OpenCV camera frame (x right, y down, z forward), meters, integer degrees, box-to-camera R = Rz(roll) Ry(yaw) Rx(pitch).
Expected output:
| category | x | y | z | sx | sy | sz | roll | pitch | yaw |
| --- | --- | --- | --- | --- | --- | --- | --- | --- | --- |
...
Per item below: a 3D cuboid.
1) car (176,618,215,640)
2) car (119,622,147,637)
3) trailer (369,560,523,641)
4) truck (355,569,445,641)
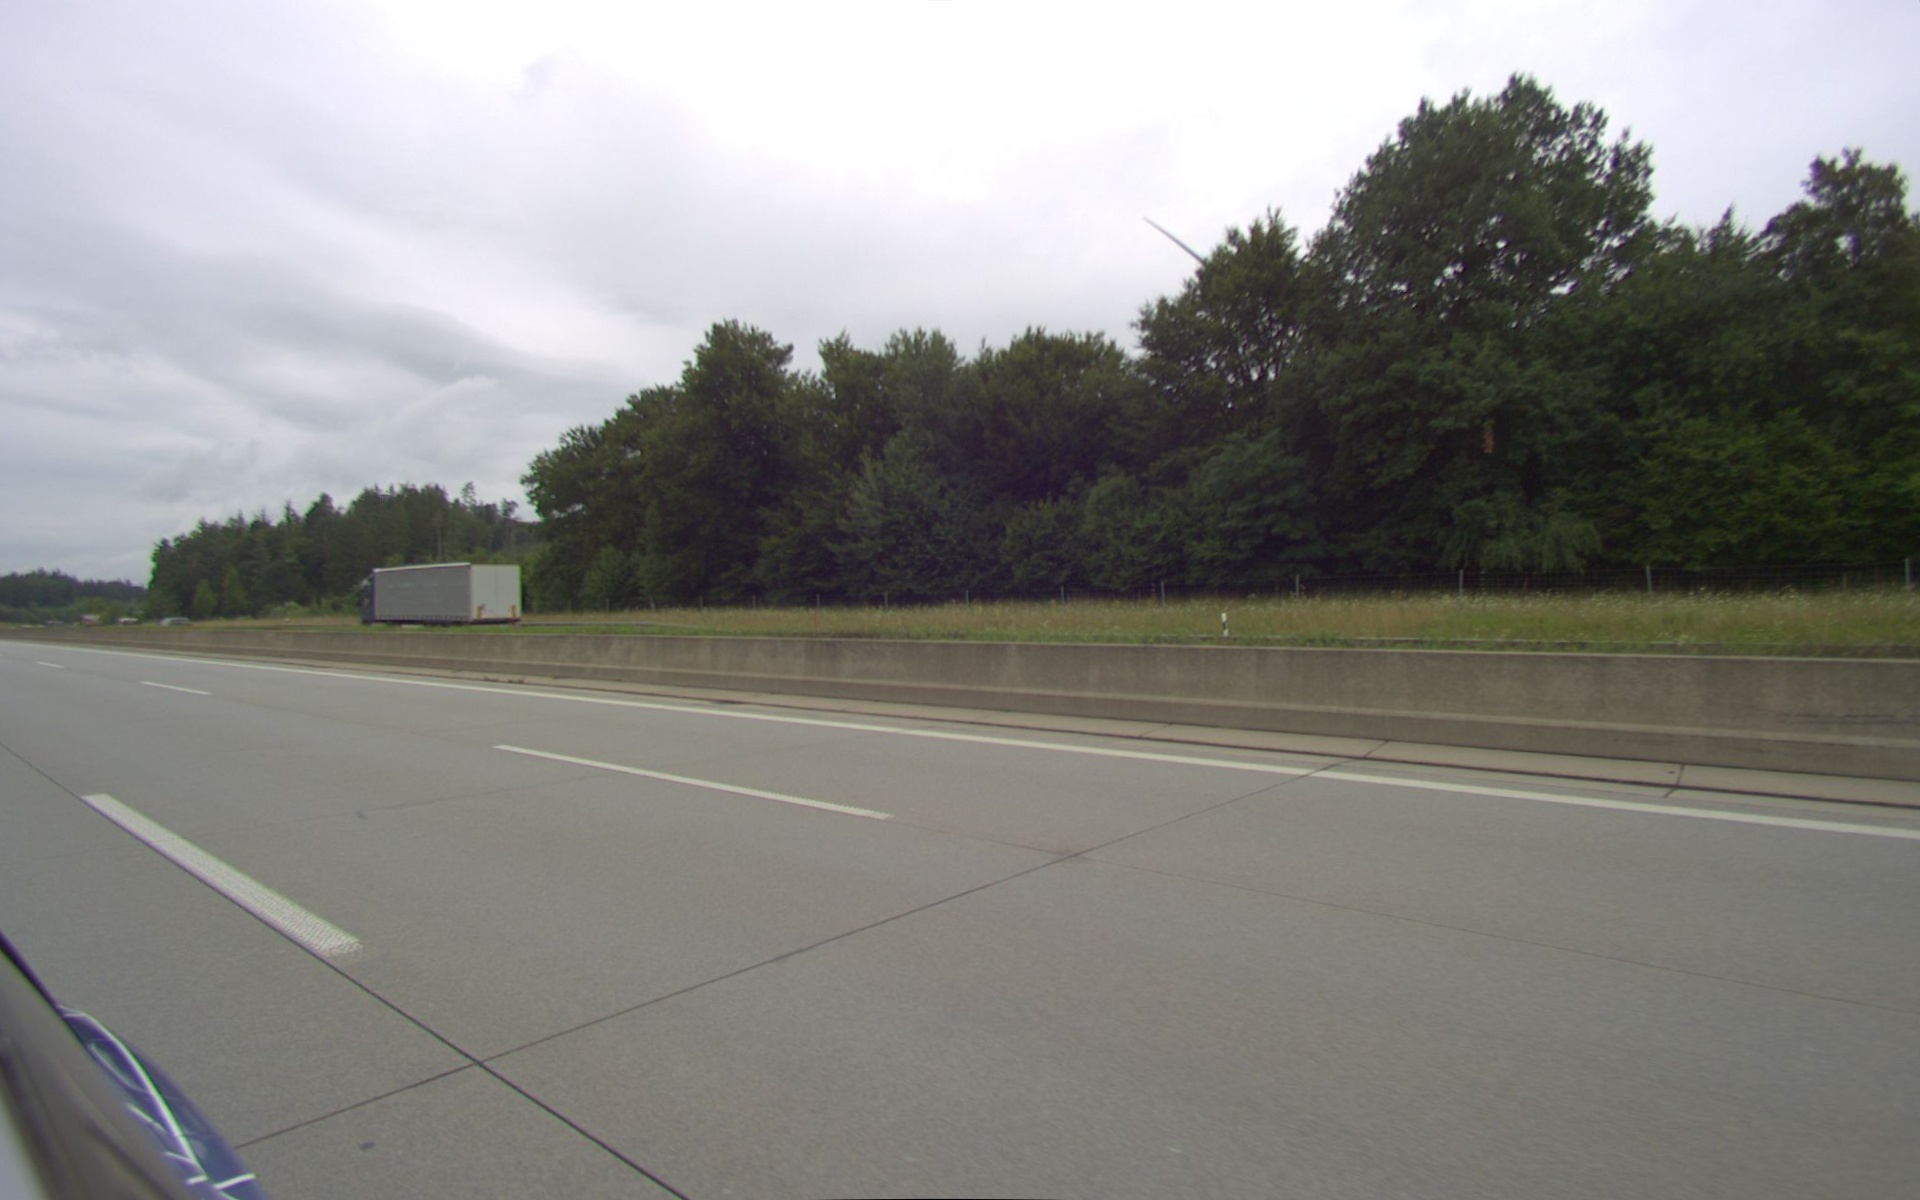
| category | x | y | z | sx | sy | sz | roll | pitch | yaw |
| --- | --- | --- | --- | --- | --- | --- | --- | --- | --- |
| car | -57.510 | 2.165 | 76.106 | 3.593 | 1.645 | 1.670 | -1 | 0 | 42 |
| car | -97.237 | 3.451 | 118.942 | 4.151 | 1.641 | 1.972 | -2 | -1 | 42 |
| trailer | -28.709 | 0.179 | 55.976 | 13.984 | 4.050 | 2.781 | -2 | -1 | 42 |
| truck | -33.288 | 0.333 | 60.056 | 6.082 | 4.058 | 2.774 | -2 | 0 | 42 |
